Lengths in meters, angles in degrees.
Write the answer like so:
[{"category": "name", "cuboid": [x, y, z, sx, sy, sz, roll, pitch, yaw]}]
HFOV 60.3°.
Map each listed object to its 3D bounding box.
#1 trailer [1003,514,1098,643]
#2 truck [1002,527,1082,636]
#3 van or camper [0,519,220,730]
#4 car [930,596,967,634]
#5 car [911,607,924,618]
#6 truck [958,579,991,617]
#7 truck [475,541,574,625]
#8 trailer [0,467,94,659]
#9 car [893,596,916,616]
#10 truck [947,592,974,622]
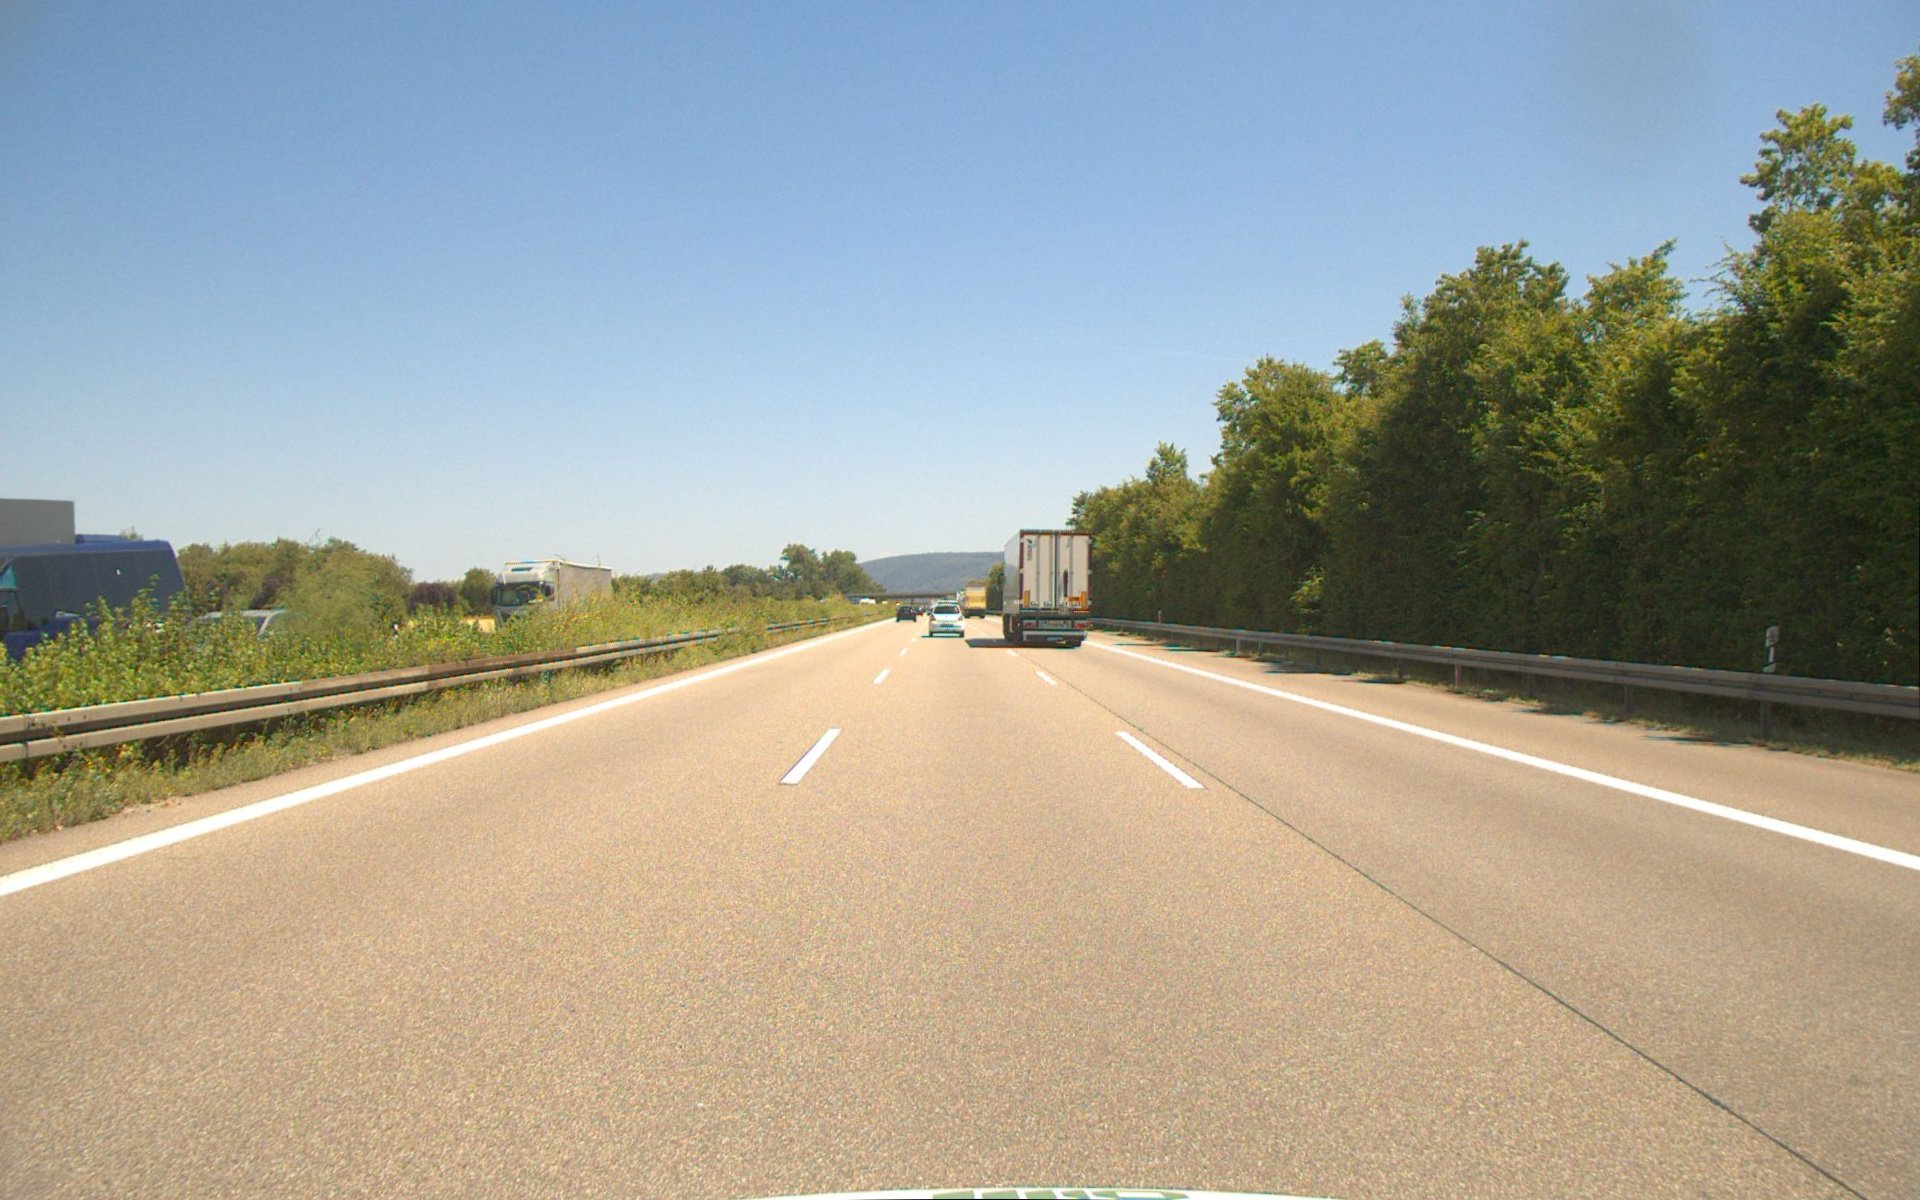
[{"category": "trailer", "cuboid": [3.316, -0.754, 64.339, 3.151, 4.421, 13.630, 1, 0, 1]}, {"category": "truck", "cuboid": [3.433, -0.753, 70.969, 3.151, 4.421, 6.591, 1, 0, 1]}, {"category": "van or camper", "cuboid": [-15.626, 0.379, 26.452, 2.557, 3.156, 11.509, -1, 0, -1]}, {"category": "car", "cuboid": [-0.564, 0.667, 77.692, 1.697, 1.713, 3.999, -1, 0, -1]}, {"category": "car", "cuboid": [-6.038, 1.797, 235.749, 1.759, 1.578, 3.999, 0, 0, -1]}, {"category": "truck", "cuboid": [1.773, -0.243, 207.540, 3.792, 4.421, 13.858, 1, 0, -1]}, {"category": "truck", "cuboid": [-20.714, -0.786, 79.046, 3.282, 3.763, 6.062, 1, 0, -2]}, {"category": "trailer", "cuboid": [-20.310, -0.756, 28.670, 3.046, 3.763, 14.381, 1, 0, 0]}, {"category": "car", "cuboid": [-4.931, 0.544, 147.047, 1.953, 1.742, 3.999, 1, 0, -1]}, {"category": "truck", "cuboid": [-0.015, 1.154, 266.427, 4.184, 4.733, 13.857, 0, 0, -1]}]
